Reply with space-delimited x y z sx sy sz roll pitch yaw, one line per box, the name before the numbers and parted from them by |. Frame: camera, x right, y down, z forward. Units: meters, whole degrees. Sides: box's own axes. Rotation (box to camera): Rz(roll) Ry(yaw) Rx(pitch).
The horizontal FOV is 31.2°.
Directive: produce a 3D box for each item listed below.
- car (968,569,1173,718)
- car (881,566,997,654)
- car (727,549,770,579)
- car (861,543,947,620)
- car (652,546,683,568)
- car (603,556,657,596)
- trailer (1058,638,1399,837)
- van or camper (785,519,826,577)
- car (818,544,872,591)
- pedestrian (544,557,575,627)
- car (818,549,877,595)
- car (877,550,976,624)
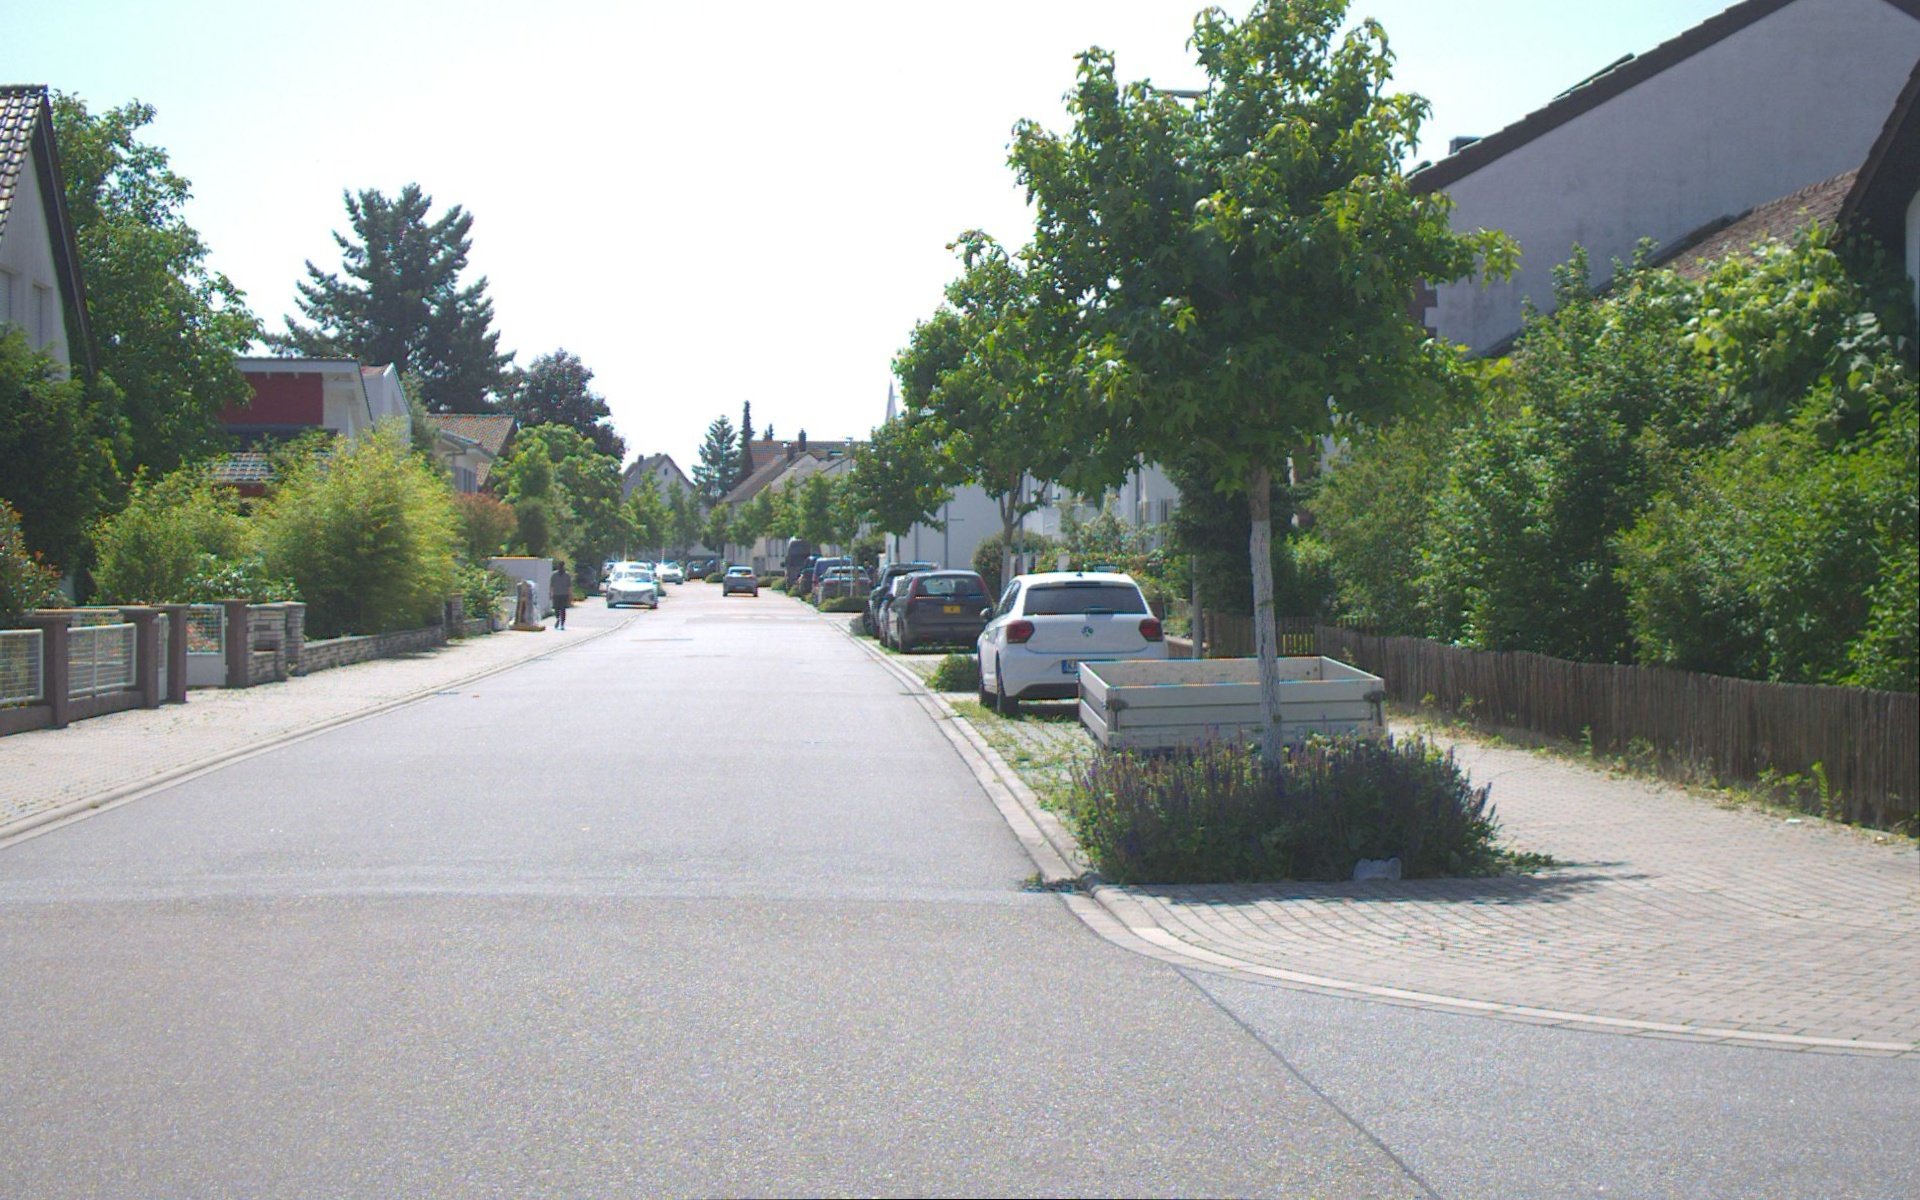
car | 1.088 0.412 35.602 1.814 1.415 3.868 0 1 -3
car | -0.428 0.161 63.121 1.741 1.528 4.450 0 1 -5
car | -10.370 -1.773 168.510 1.993 1.425 4.000 0 1 -2
car | -1.305 -0.452 78.320 1.814 1.650 4.565 0 1 -3
car | -19.902 -2.917 234.225 1.852 1.473 4.700 0 1 -2
car | -12.426 -0.922 129.560 1.851 1.483 4.386 0 1 -3
trailer | 1.587 0.810 21.249 1.787 1.055 2.899 0 1 -2
van or camper | -7.964 -2.666 177.283 1.993 2.931 4.001 0 1 -4
car | -4.651 -1.317 138.174 2.099 1.875 4.843 0 1 -3
pedestrian | -10.170 -0.208 87.289 0.714 1.741 0.961 0 1 -3
car | -4.000 -1.012 121.311 1.773 1.590 4.280 0 1 -6
car | -0.696 -0.287 68.910 1.814 1.415 4.093 0 1 -3
